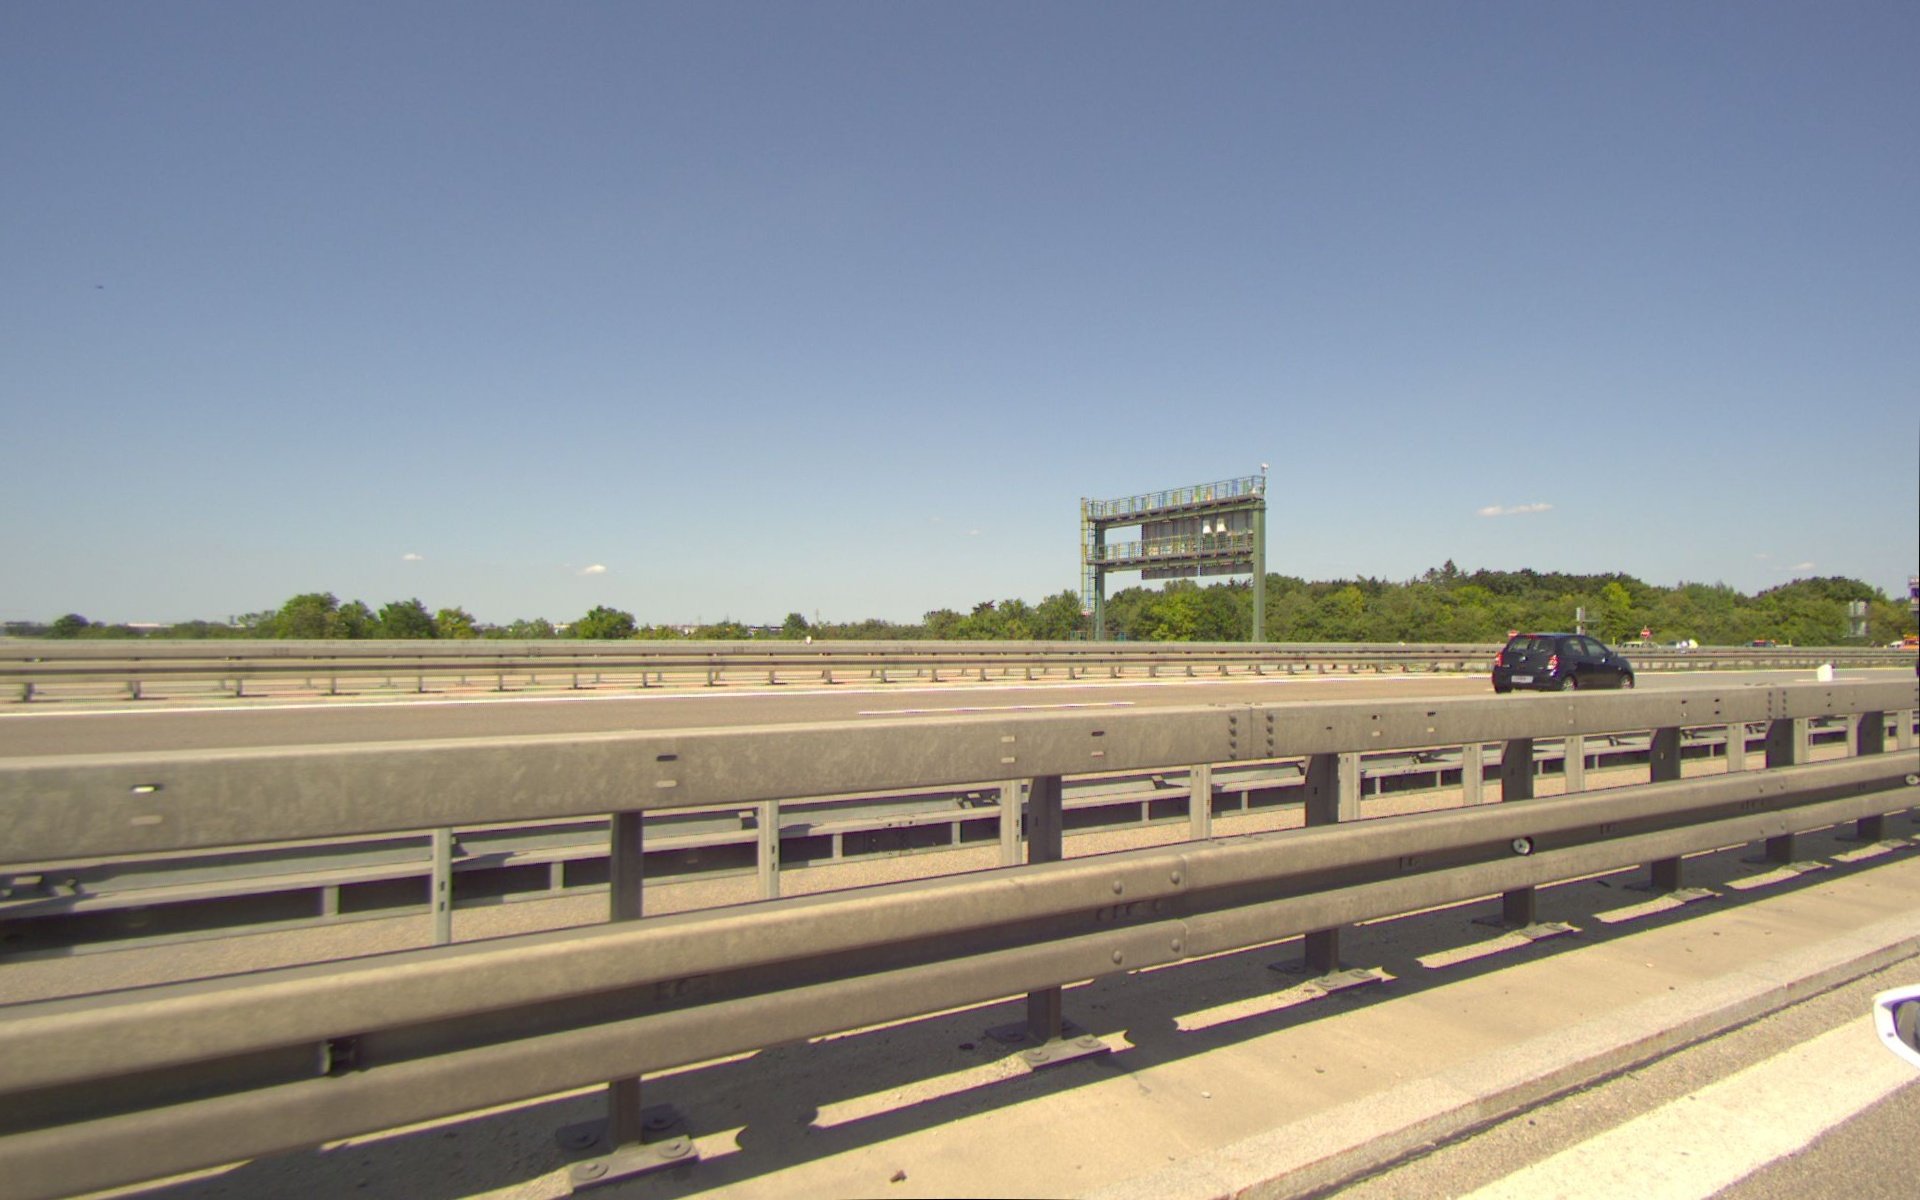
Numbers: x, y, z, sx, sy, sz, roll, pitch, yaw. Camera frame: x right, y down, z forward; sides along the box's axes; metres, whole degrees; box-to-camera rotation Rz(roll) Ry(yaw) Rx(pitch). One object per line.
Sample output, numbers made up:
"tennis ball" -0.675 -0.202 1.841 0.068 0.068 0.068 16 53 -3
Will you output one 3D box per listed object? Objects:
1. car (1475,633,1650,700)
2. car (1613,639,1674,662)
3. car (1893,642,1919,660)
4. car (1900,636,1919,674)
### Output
"car" 14.449 1.536 24.039 4.168 1.451 1.821 1 -1 -30
"car" 48.161 3.543 70.744 4.478 1.537 1.829 1 -1 -30
"car" 87.892 4.642 92.248 5.235 1.537 1.829 1 -1 -30
"car" 38.871 2.182 39.426 4.167 1.441 1.754 1 -1 -30
